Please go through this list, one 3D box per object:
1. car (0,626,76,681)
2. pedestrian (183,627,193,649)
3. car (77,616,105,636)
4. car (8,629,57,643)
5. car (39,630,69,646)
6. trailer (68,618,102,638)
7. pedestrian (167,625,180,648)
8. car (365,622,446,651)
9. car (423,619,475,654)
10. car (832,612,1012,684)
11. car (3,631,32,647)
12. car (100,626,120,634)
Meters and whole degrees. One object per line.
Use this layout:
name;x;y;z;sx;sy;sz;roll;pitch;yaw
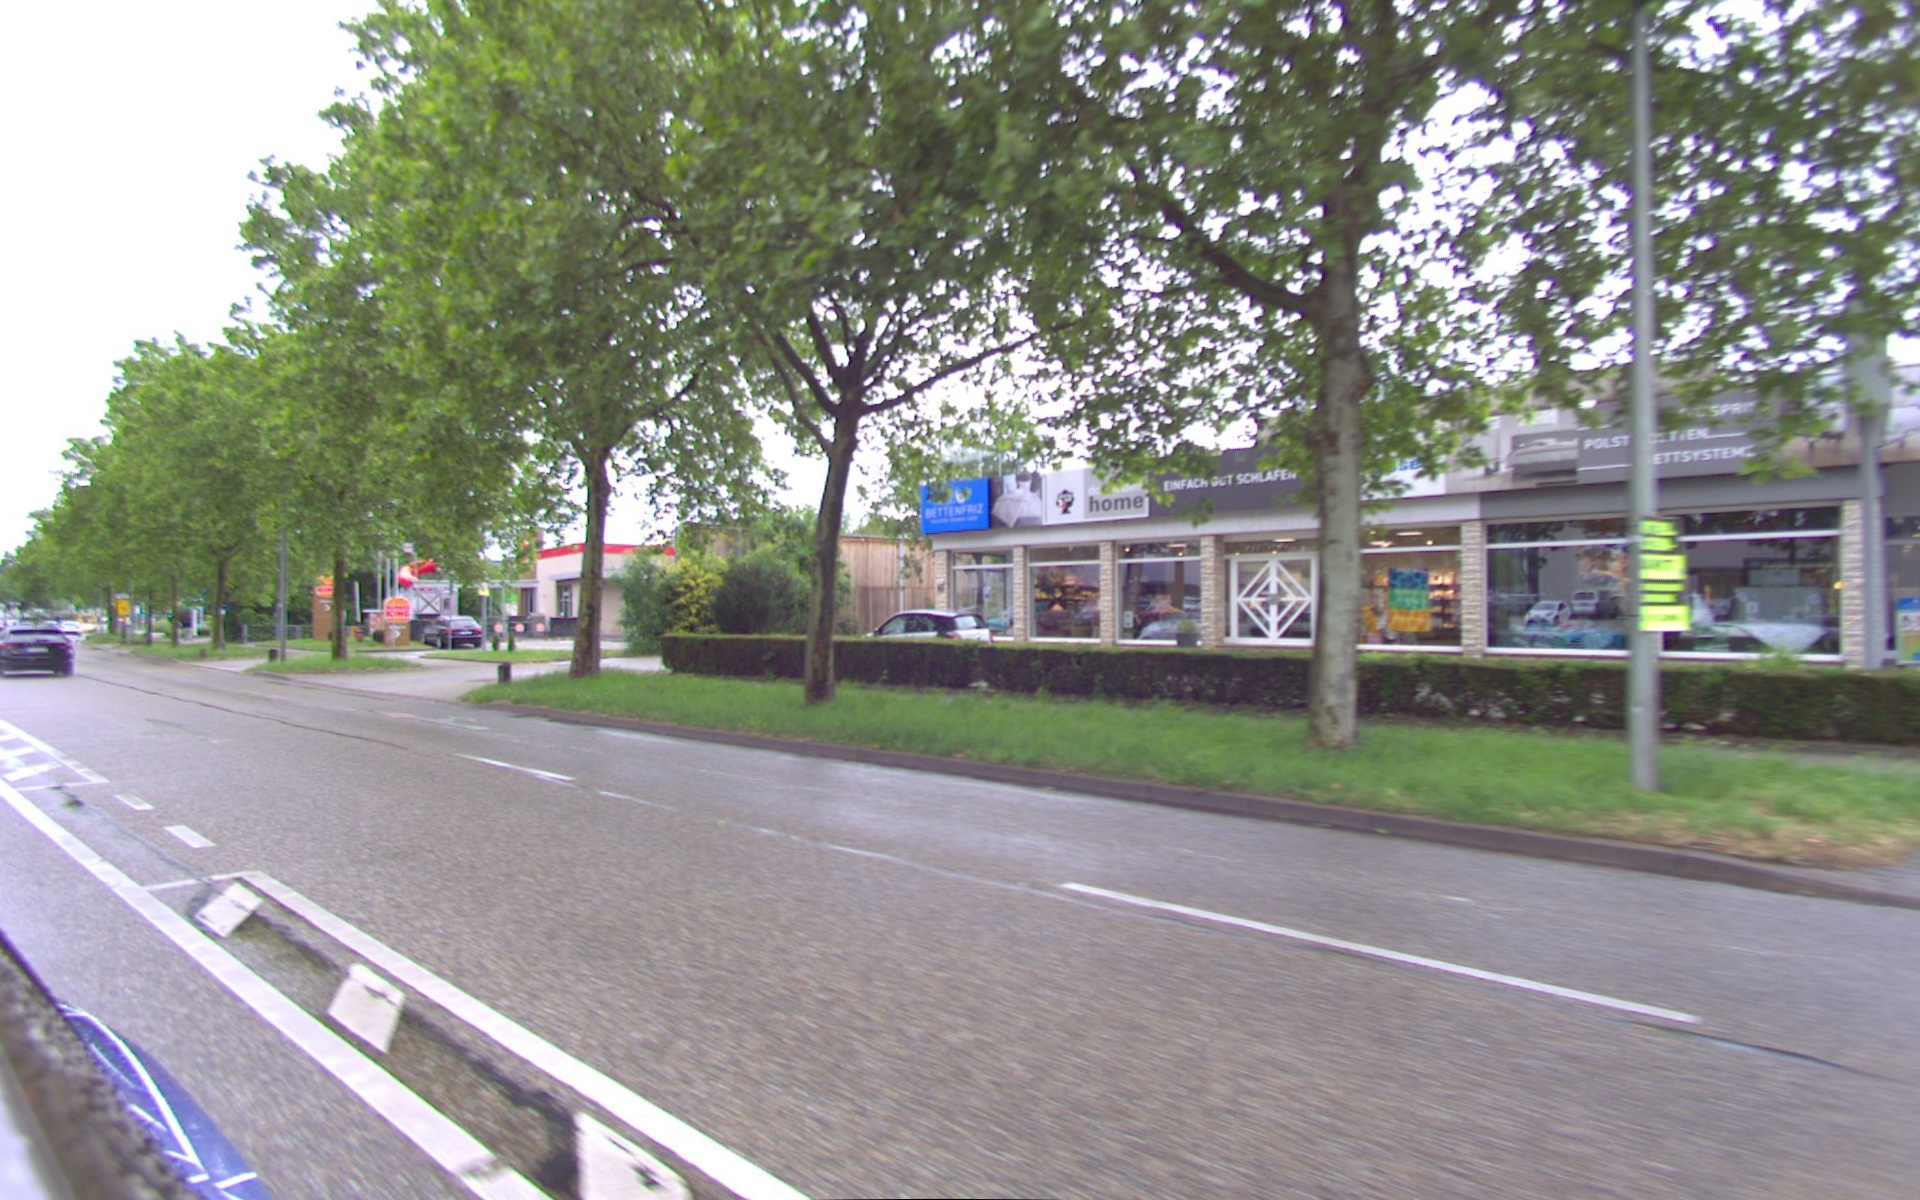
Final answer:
car;-26.848;1.513;28.990;3.844;1.474;1.784;-2;-4;42
pedestrian;-58.885;2.885;77.197;0.541;1.696;0.506;-2;-3;44
car;-119.546;3.572;139.237;2.209;2.493;5.029;-1;-2;-32
car;-109.462;4.225;119.453;1.797;1.552;3.983;1;-1;13
car;-92.851;3.884;103.717;4.399;1.632;1.907;-1;-2;43
trailer;-117.451;3.784;135.917;2.272;2.493;7.993;-1;-2;-32
pedestrian;-59.522;2.755;76.558;0.655;1.780;0.585;0;-1;-25
car;-26.102;1.695;47.668;3.135;1.164;1.292;-2;0;-40
car;-23.564;1.665;46.648;1.416;1.437;3.197;0;1;-40
car;-0.915;1.063;22.979;3.937;1.497;1.804;-1;-3;41
car;-94.136;3.933;101.115;1.969;1.520;4.736;3;-4;-42
car;-146.116;5.192;173.933;1.758;1.415;4.013;1;-2;-28
